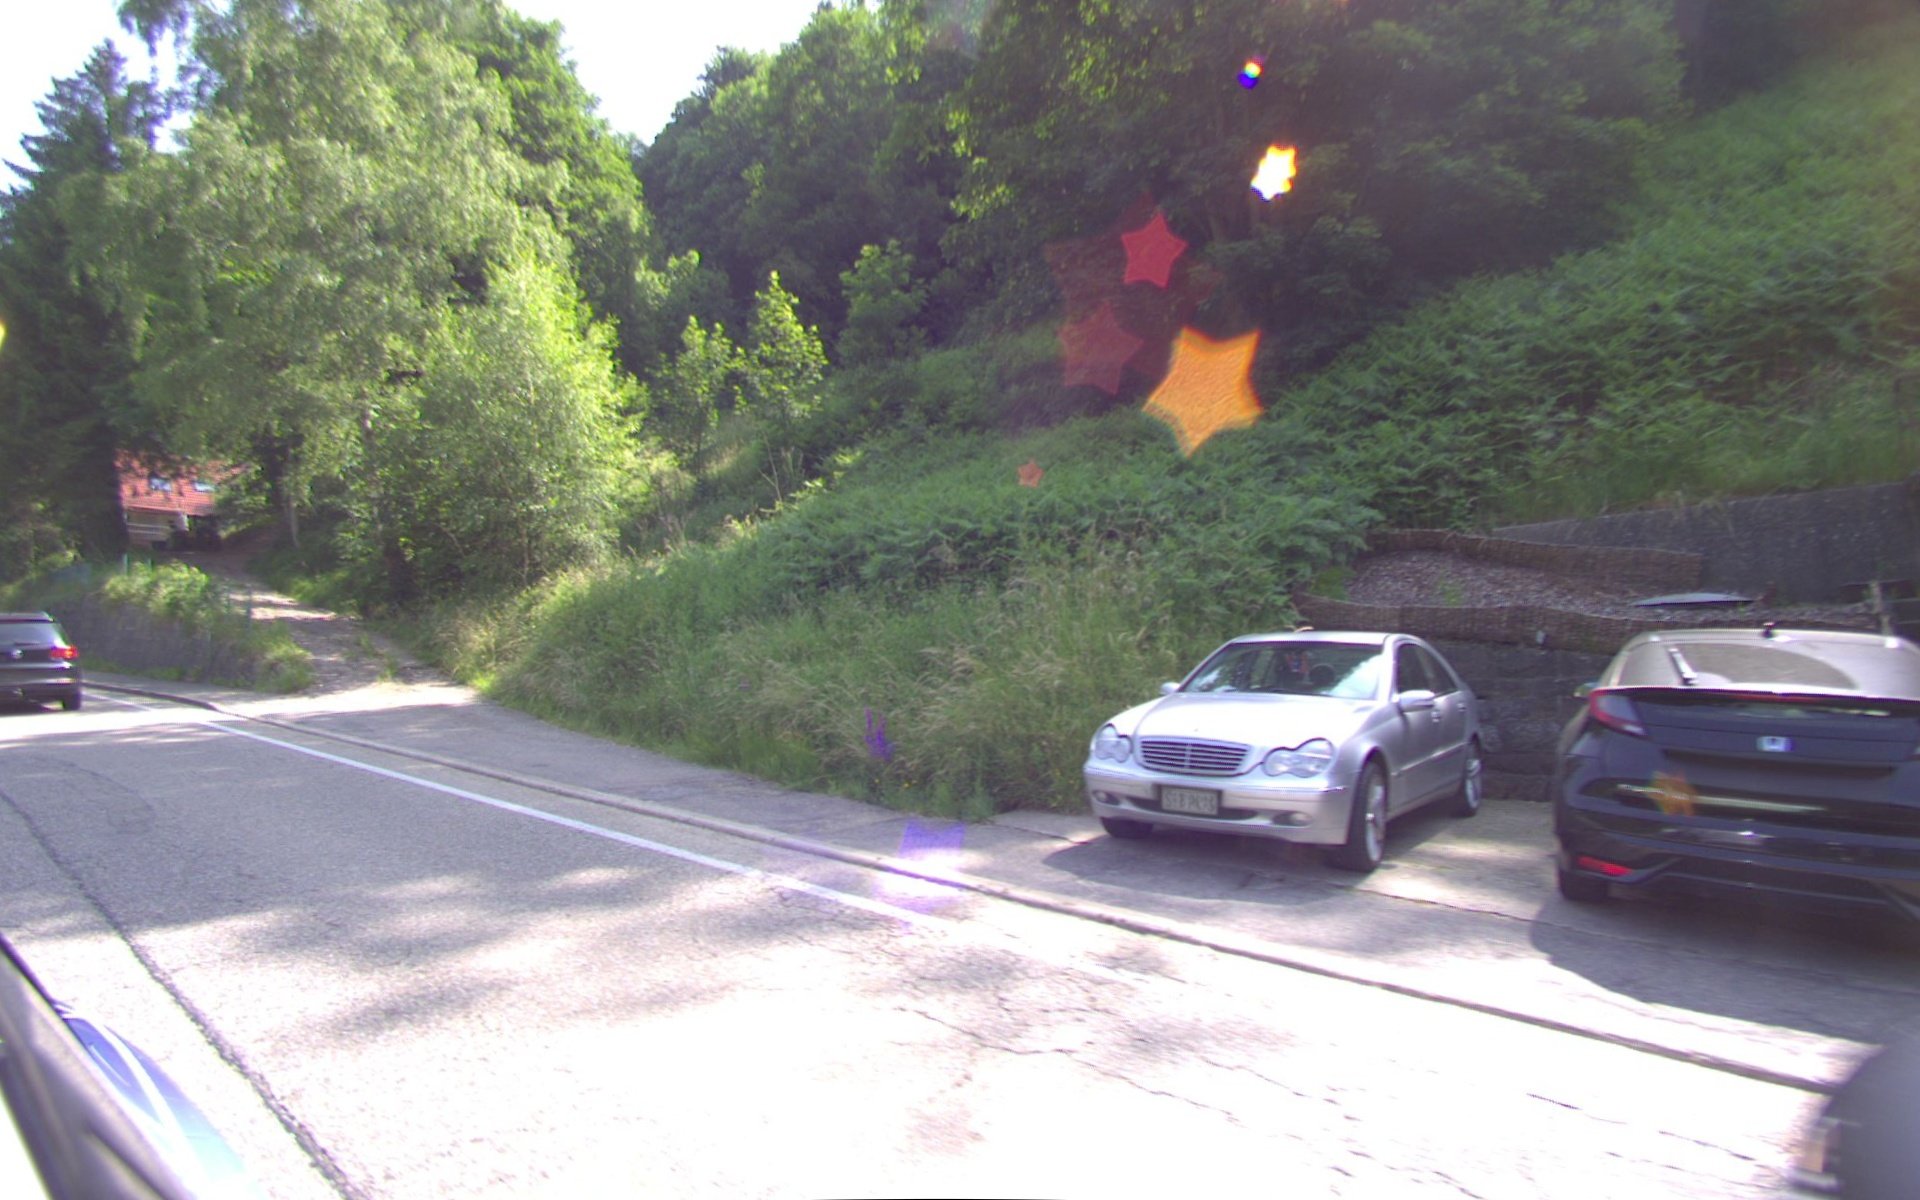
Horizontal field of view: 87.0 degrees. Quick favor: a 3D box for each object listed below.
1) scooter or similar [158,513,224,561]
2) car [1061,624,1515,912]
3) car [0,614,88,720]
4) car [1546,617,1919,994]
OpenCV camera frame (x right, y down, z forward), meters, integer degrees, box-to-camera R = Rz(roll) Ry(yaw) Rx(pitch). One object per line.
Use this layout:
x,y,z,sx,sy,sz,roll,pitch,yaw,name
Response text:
-37.380,-3.035,49.146,1.955,2.042,4.408,-3,1,-44,scooter or similar
2.505,0.891,7.112,1.855,1.427,3.779,-1,-2,38,car
-16.599,1.077,17.342,4.255,1.657,1.870,-1,-1,40,car
4.618,0.887,5.608,1.861,1.444,3.779,0,-3,38,car
